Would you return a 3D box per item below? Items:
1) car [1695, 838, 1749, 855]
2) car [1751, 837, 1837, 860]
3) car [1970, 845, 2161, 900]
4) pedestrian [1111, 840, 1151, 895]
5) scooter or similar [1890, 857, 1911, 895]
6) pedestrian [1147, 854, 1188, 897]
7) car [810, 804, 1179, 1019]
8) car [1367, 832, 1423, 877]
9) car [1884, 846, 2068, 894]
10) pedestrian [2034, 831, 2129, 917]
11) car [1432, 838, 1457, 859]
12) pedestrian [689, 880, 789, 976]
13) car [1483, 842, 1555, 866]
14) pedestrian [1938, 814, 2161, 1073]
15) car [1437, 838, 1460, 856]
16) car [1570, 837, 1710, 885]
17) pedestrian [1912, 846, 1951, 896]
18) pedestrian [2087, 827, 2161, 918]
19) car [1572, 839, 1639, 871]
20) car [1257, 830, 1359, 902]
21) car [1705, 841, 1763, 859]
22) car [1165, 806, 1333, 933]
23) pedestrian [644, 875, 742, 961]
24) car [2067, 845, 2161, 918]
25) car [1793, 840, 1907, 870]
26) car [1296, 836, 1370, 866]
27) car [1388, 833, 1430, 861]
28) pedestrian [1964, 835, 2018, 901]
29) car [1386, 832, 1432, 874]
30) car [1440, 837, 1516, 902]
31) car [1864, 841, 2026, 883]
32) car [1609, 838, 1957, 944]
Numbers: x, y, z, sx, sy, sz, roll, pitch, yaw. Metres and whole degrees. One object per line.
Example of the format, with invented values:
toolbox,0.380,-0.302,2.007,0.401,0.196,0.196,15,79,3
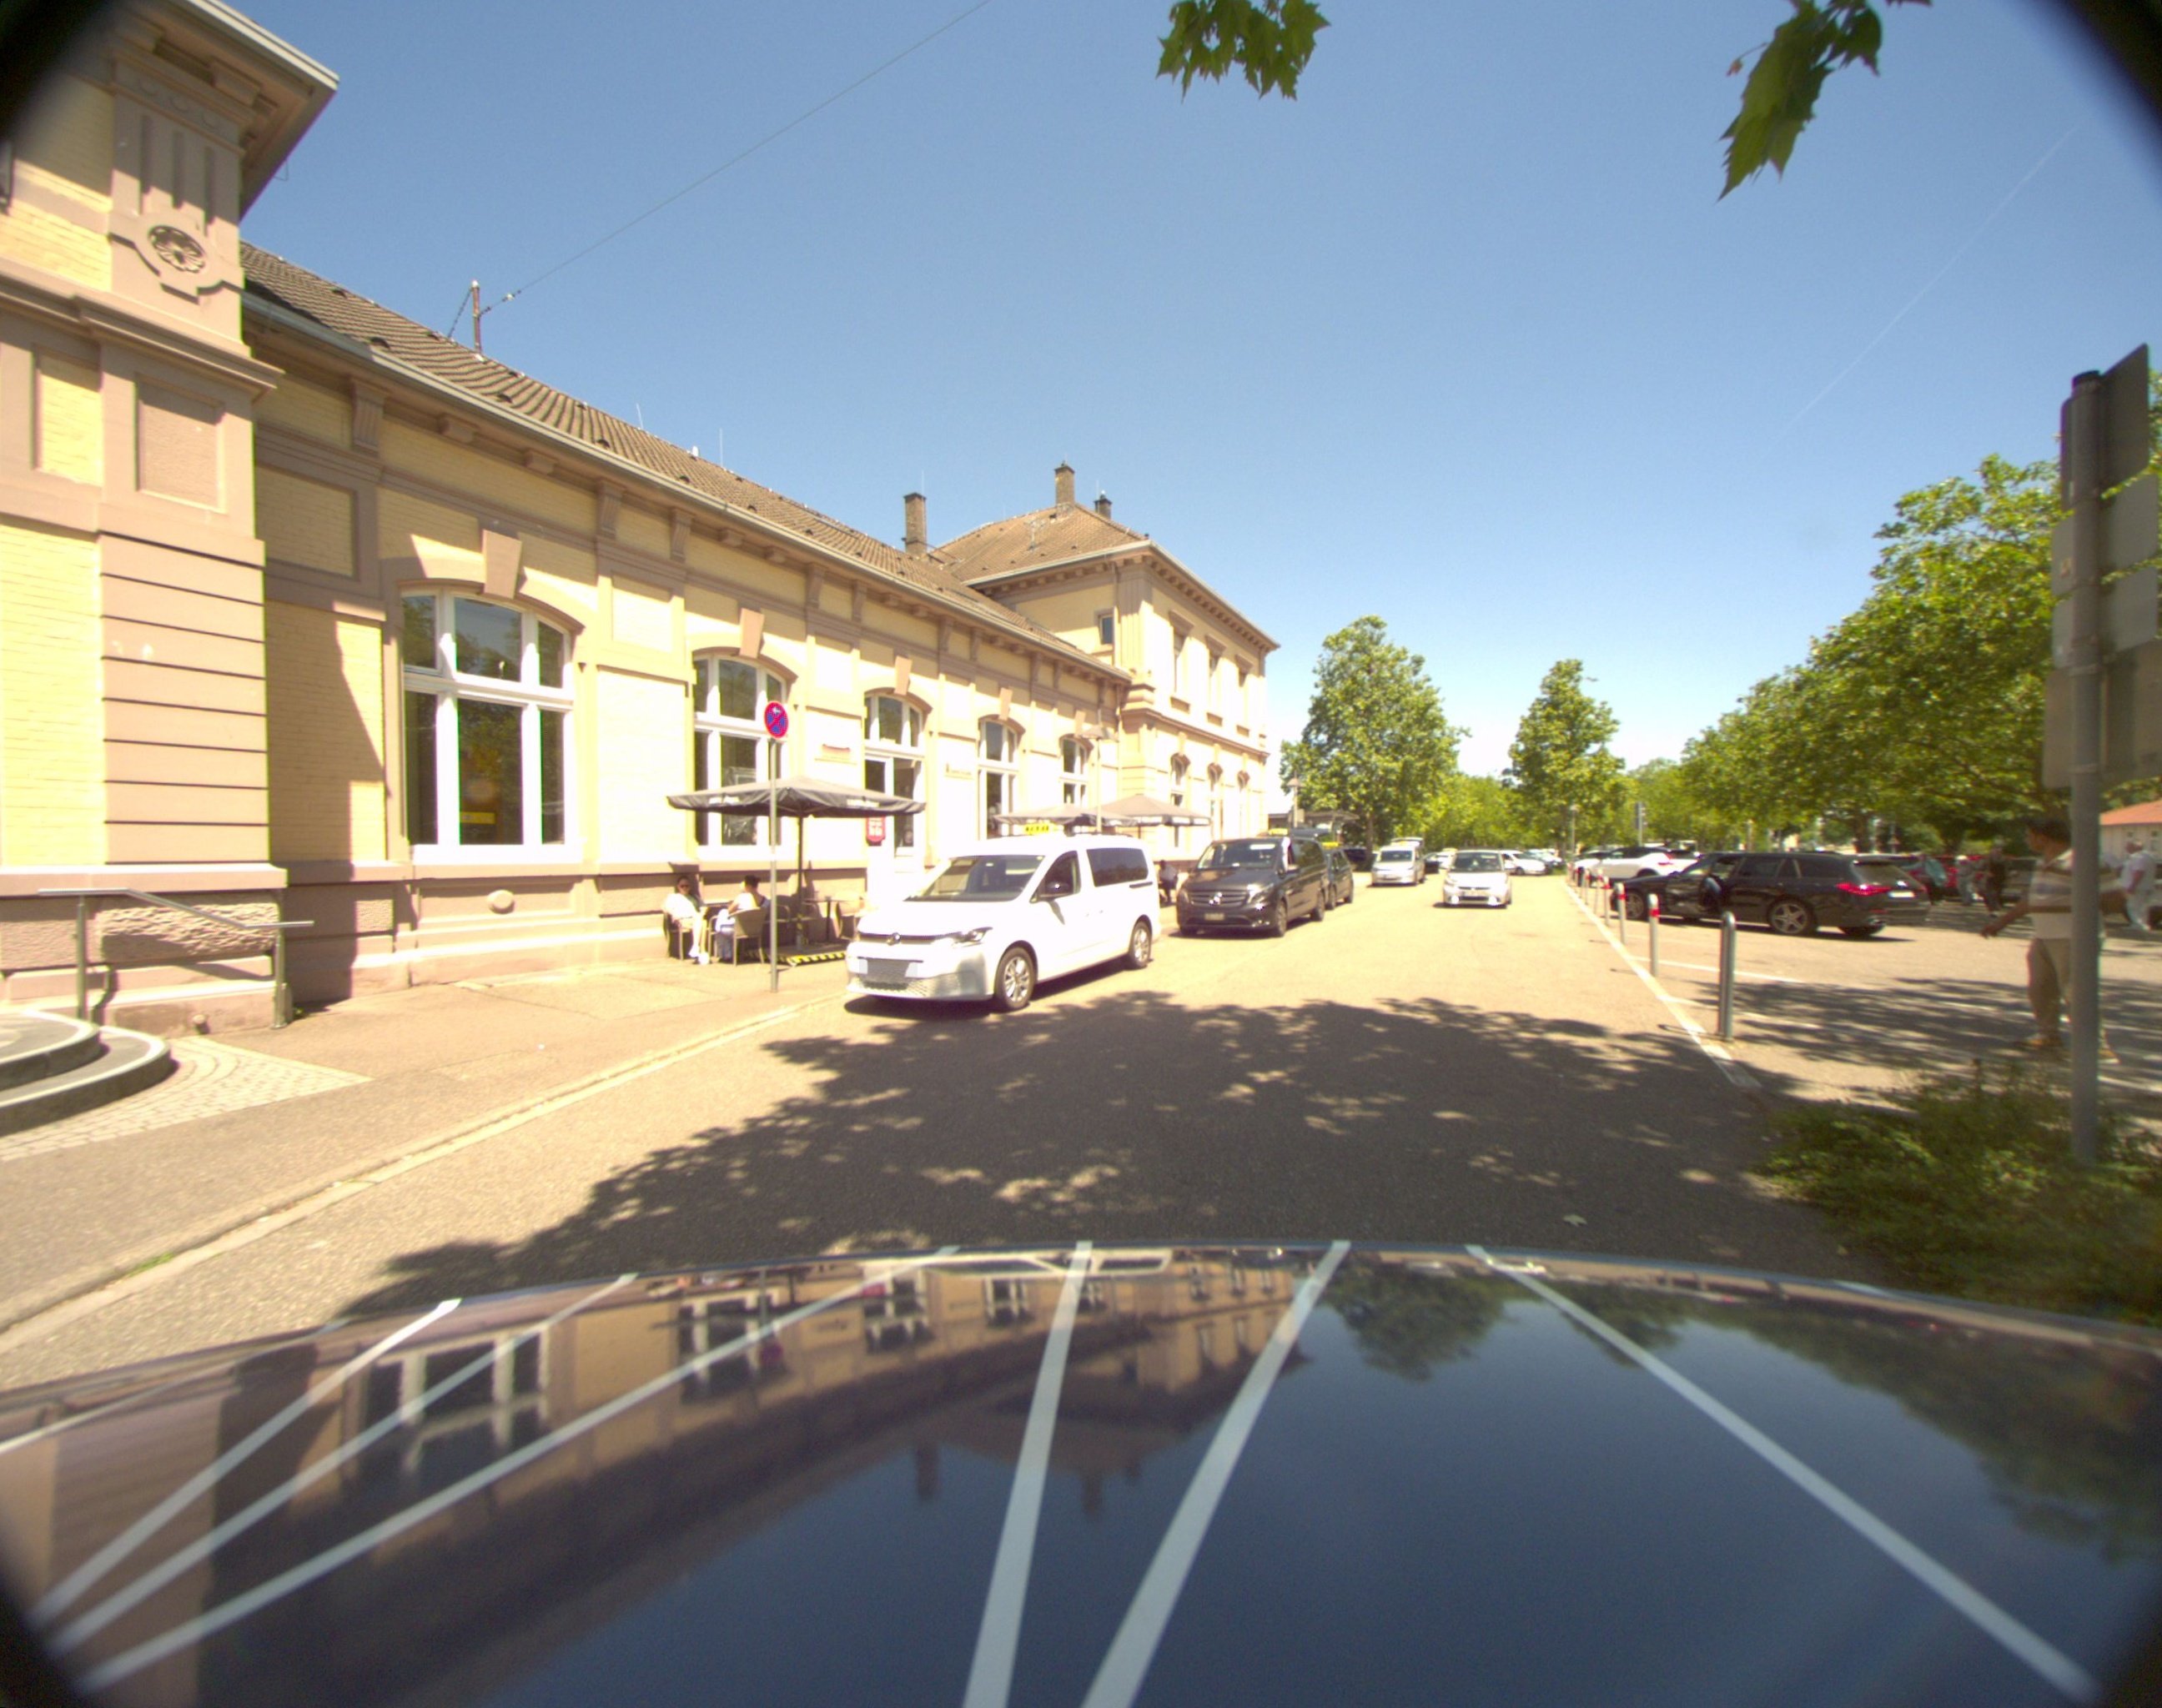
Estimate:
car,53.231,-0.609,63.157,3.152,1.386,1.468,0,1,25
car,45.832,-0.352,48.880,3.873,1.439,1.636,0,1,2
car,27.537,0.476,20.839,4.024,1.397,1.878,0,1,1
pedestrian,1.446,0.382,21.959,0.879,1.535,0.853,2,2,26
scooter or similar,24.120,0.650,22.362,0.402,1.095,0.439,1,2,45
pedestrian,2.481,0.606,21.707,0.849,1.158,0.883,2,2,30
car,-0.608,0.501,9.242,1.810,1.855,5.148,-1,0,28
car,14.261,-0.027,34.331,1.999,1.829,5.327,-2,0,25
car,28.819,0.495,24.551,3.873,1.452,1.636,0,1,2
pedestrian,21.101,0.413,16.049,0.837,1.760,0.852,0,2,12
car,35.035,-0.541,73.278,2.046,1.829,4.973,-2,0,25
pedestrian,-4.586,0.957,10.210,0.879,1.155,0.853,2,2,26
car,26.621,0.008,46.278,1.805,1.395,3.507,-1,1,-19
pedestrian,6.999,0.579,5.478,0.774,1.707,0.813,-1,1,-16
car,38.271,-0.756,79.110,2.046,1.829,4.973,-2,0,25
car,21.015,0.194,28.796,1.801,1.596,4.057,-2,3,-14
pedestrian,24.621,0.476,22.002,0.802,1.416,0.689,-2,2,-45
pedestrian,20.900,0.350,15.027,0.837,1.760,0.852,0,1,10
car,32.197,0.031,46.804,1.736,1.883,4.002,0,1,7
car,6.682,0.322,21.927,2.075,1.829,4.849,-1,0,25
car,51.456,-0.327,59.951,3.152,1.386,1.468,0,1,25
car,3.717,0.262,15.713,2.088,2.112,5.836,-1,0,25
pedestrian,-5.420,0.862,10.635,0.879,1.074,0.853,2,2,26
car,23.888,0.519,15.382,4.770,1.409,1.788,0,1,11
car,38.097,0.024,37.719,3.873,1.452,1.636,0,1,2
car,18.974,-0.221,57.257,4.952,2.108,2.055,-2,0,29
car,22.915,-0.516,53.024,1.995,1.779,4.255,-2,1,32
pedestrian,21.553,0.322,18.014,0.588,1.539,0.611,1,2,26
car,17.220,-0.080,39.763,1.999,1.978,4.610,-2,0,25
car,10.552,0.344,20.117,1.597,1.584,3.112,0,1,31
car,31.232,0.255,27.538,3.873,1.452,1.636,0,1,2
car,12.758,0.537,14.294,1.802,1.534,4.522,-2,3,-16
